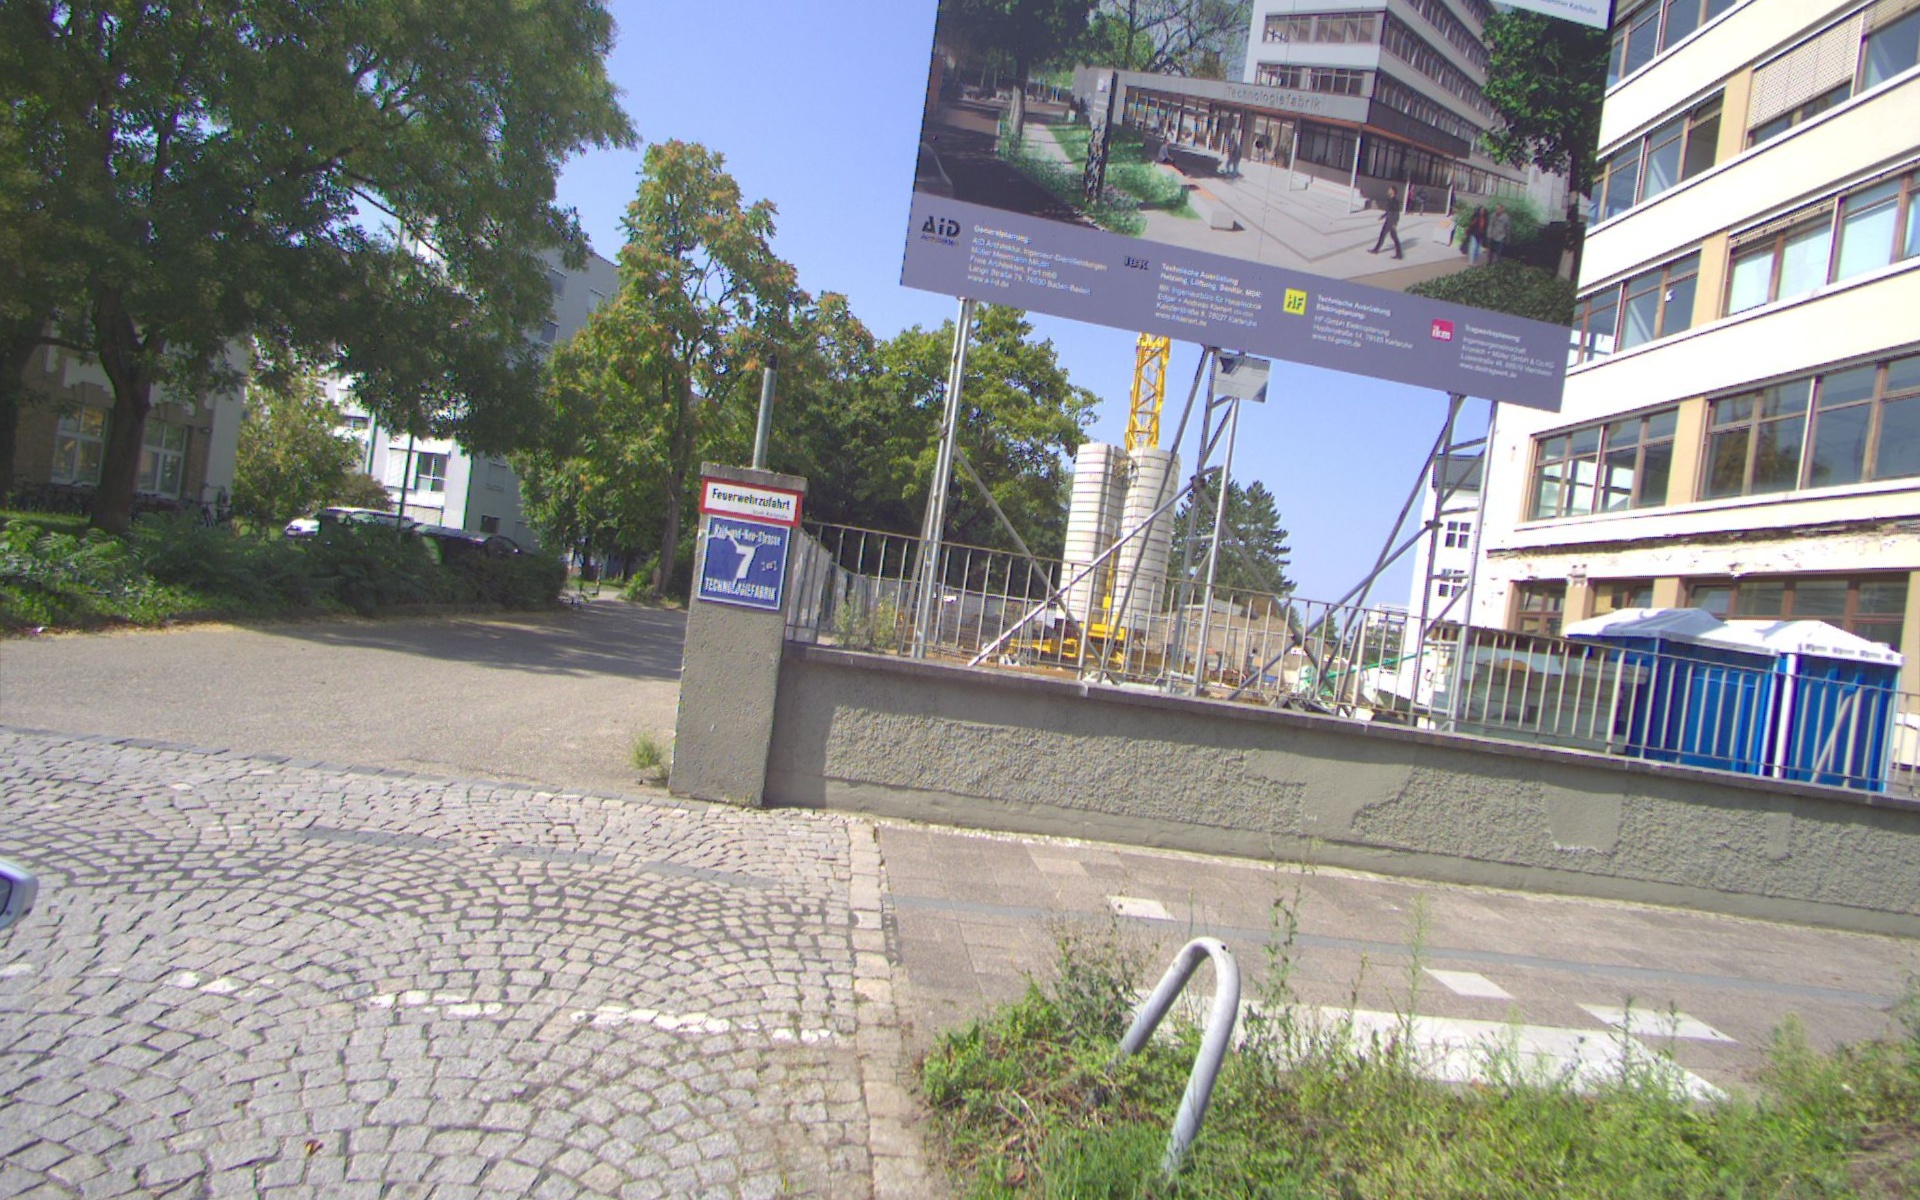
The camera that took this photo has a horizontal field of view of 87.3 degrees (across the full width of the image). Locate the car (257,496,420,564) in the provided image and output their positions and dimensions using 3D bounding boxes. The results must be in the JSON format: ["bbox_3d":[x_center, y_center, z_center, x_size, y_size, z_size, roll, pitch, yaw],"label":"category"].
[{"bbox_3d":[-25.342,-2.805,41.265,2.457,1.904,5.084,8,0,23],"label":"car"}]

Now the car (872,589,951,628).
[{"bbox_3d":[-2.917,0.510,60.527,4.085,1.632,2.000,9,0,22],"label":"car"}]

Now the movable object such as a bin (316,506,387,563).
[{"bbox_3d":[-18.896,-2.024,31.258,1.184,1.462,1.250,9,0,15],"label":"movable object such as a bin"}]

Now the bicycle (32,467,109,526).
[{"bbox_3d":[-23.646,-2.752,26.733,2.134,1.318,0.609,7,0,24],"label":"bicycle"}]

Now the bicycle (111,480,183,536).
[{"bbox_3d":[-23.039,-2.611,28.501,2.134,1.318,0.609,7,0,24],"label":"bicycle"}]

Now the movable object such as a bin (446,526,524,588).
[{"bbox_3d":[-13.607,-1.219,28.856,1.347,1.511,1.336,9,0,6],"label":"movable object such as a bin"}]

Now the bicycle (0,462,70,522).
[{"bbox_3d":[-23.939,-2.795,25.914,2.134,1.318,0.609,7,0,24],"label":"bicycle"}]

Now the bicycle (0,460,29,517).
[{"bbox_3d":[-24.393,-2.867,25.274,2.134,1.318,0.609,7,0,24],"label":"bicycle"}]

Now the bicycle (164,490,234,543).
[{"bbox_3d":[-22.522,-2.486,29.764,2.134,1.318,0.609,7,0,24],"label":"bicycle"}]

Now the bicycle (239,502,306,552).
[{"bbox_3d":[-21.791,-2.312,31.881,2.134,1.318,0.609,7,0,24],"label":"bicycle"}]

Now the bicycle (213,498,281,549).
[{"bbox_3d":[-22.018,-2.358,31.037,2.134,1.318,0.609,7,0,24],"label":"bicycle"}]

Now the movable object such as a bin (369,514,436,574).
[{"bbox_3d":[-16.295,-1.632,29.431,1.081,1.499,1.102,9,0,15],"label":"movable object such as a bin"}]

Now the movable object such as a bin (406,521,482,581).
[{"bbox_3d":[-15.063,-1.416,29.396,1.307,1.449,1.250,9,0,14],"label":"movable object such as a bin"}]

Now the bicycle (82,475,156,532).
[{"bbox_3d":[-23.193,-2.673,27.740,2.134,1.318,0.609,7,0,24],"label":"bicycle"}]

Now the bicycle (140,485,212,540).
[{"bbox_3d":[-22.687,-2.533,29.091,2.134,1.318,0.609,7,0,24],"label":"bicycle"}]

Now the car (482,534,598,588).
[{"bbox_3d":[-16.317,-1.486,39.252,1.677,1.546,3.909,8,0,27],"label":"car"}]

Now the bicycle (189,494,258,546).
[{"bbox_3d":[-22.274,-2.433,30.405,2.134,1.318,0.609,7,0,24],"label":"bicycle"}]

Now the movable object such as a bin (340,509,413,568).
[{"bbox_3d":[-17.502,-1.831,30.193,1.184,1.513,1.250,9,0,15],"label":"movable object such as a bin"}]
